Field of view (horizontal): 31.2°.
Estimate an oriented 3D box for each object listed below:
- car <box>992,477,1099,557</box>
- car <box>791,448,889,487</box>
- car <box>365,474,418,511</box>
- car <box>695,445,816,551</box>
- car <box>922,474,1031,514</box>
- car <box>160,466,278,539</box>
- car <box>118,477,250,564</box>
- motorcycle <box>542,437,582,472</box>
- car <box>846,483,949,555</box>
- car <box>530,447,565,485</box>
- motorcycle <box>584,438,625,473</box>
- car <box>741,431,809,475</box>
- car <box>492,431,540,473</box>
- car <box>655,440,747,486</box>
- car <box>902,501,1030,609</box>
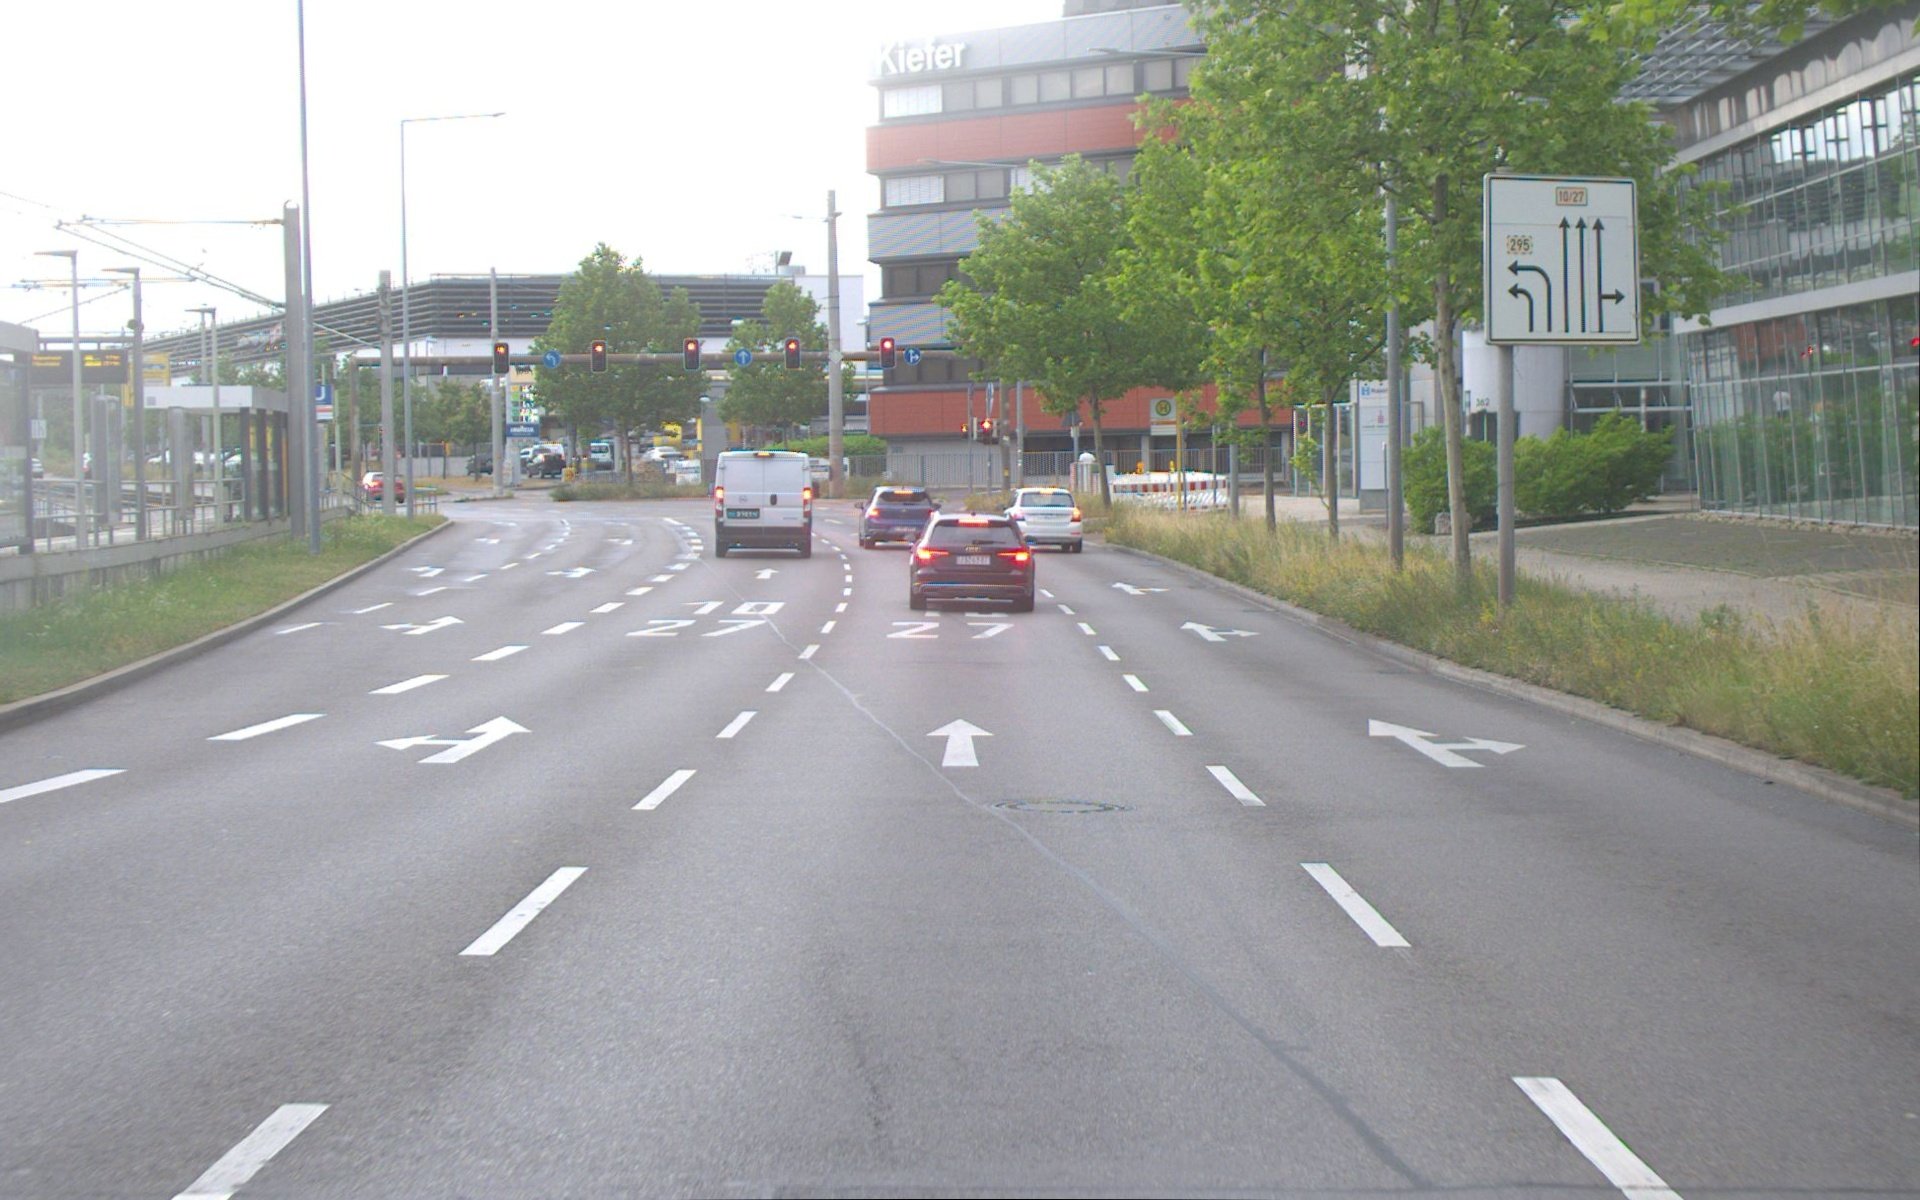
[{"bbox_3d":[1.937,-1.929,79.111,2.021,1.763,4.001,0,2,-5],"label":"car"},{"bbox_3d":[-5.160,-5.673,147.718,3.997,1.617,2.022,2,2,45],"label":"car"},{"bbox_3d":[-25.235,-4.756,152.571,2.020,1.617,4.001,0,1,-14],"label":"car"},{"bbox_3d":[-4.401,-2.190,74.010,2.511,2.169,5.150,0,2,-3],"label":"car"},{"bbox_3d":[0.678,-4.399,143.310,4.323,1.617,2.022,2,2,45],"label":"car"},{"bbox_3d":[-15.883,-2.072,73.850,1.993,1.448,3.848,0,0,-5],"label":"car"},{"bbox_3d":[-15.045,-1.566,66.828,1.993,1.447,3.849,0,4,-5],"label":"car"},{"bbox_3d":[-25.812,-9.444,223.043,1.993,2.007,4.001,1,-1,-15],"label":"motorcycle"},{"bbox_3d":[-1.492,-1.882,80.343,2.021,1.617,4.001,0,1,-6],"label":"car"},{"bbox_3d":[-24.074,-7.819,200.356,1.817,2.007,3.471,0,-1,-10],"label":"car"},{"bbox_3d":[-23.143,-9.415,223.845,1.993,2.007,4.001,1,-1,-15],"label":"motorcycle"},{"bbox_3d":[-9.685,-7.672,179.930,1.993,2.007,4.000,1,-1,-30],"label":"car"},{"bbox_3d":[-23.764,-7.900,183.965,1.993,2.007,4.001,0,-1,-16],"label":"car"},{"bbox_3d":[-11.806,-6.248,156.721,3.998,2.007,1.995,2,1,45],"label":"car"},{"bbox_3d":[0.131,-0.703,50.549,1.764,1.458,4.627,1,2,1],"label":"car"}]
